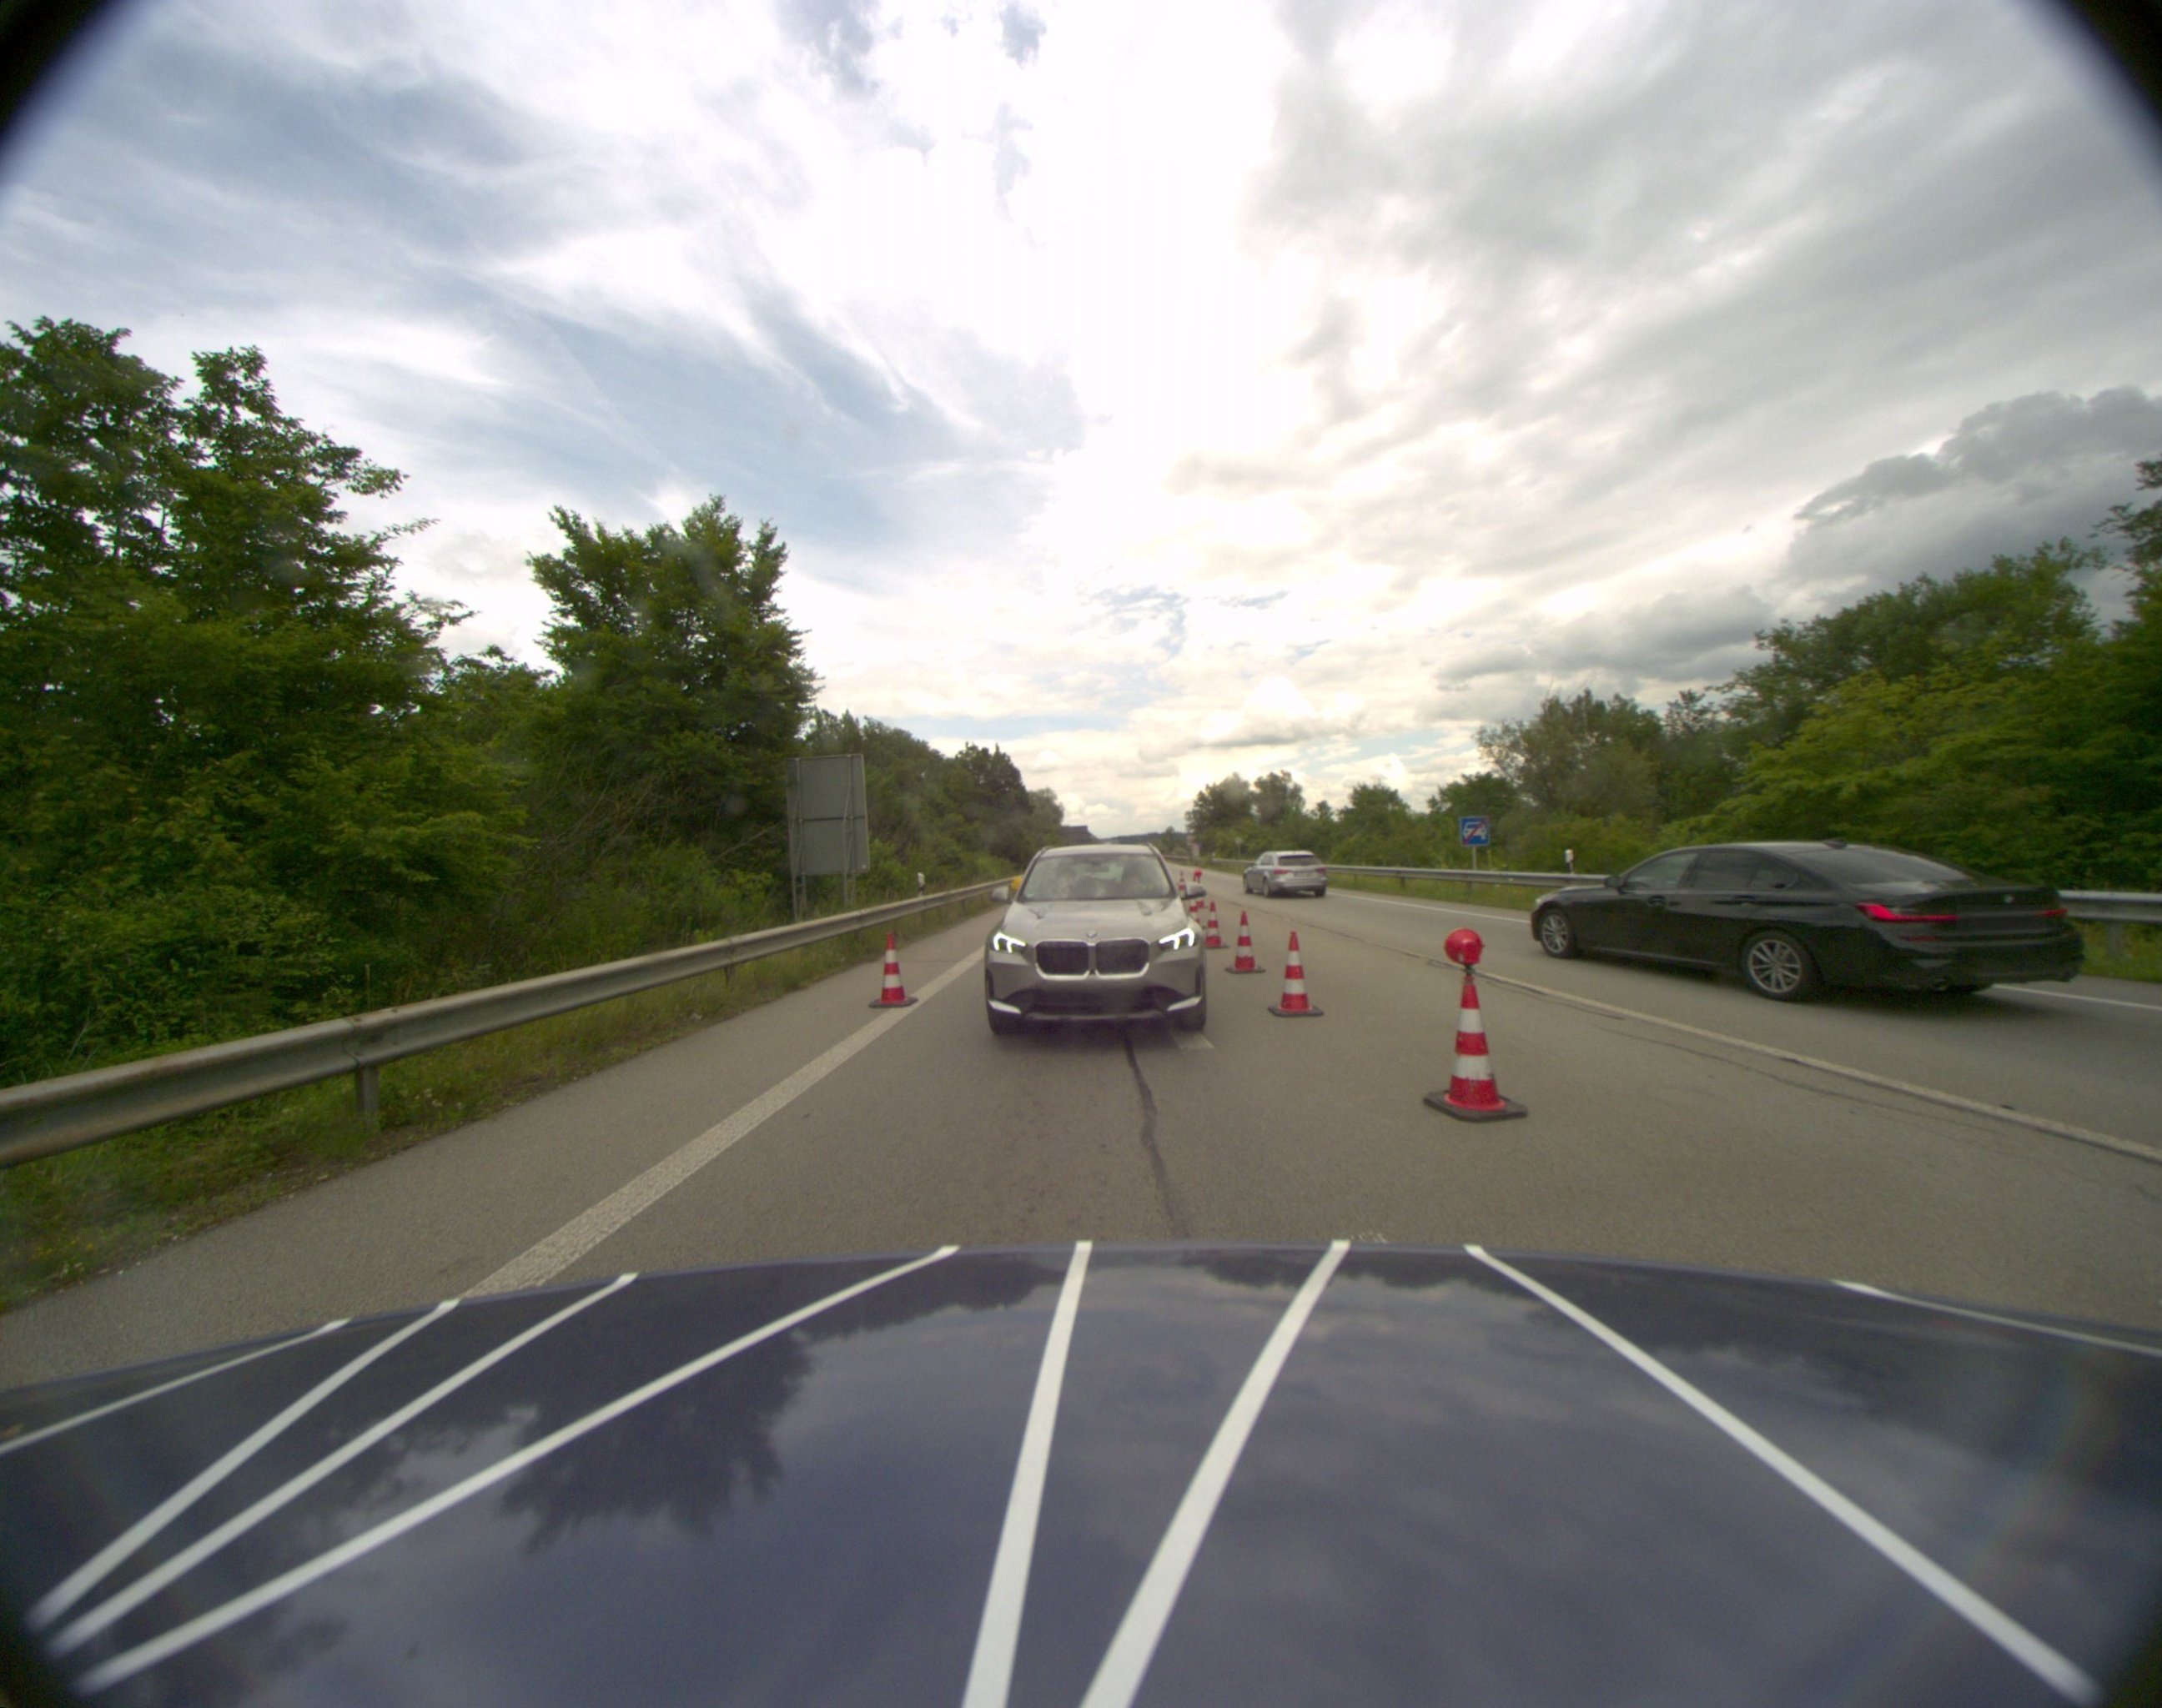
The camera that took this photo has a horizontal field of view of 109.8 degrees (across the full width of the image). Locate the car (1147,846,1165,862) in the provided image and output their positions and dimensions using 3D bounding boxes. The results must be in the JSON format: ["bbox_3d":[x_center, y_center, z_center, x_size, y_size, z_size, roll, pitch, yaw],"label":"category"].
[{"bbox_3d":[9.786,-0.014,99.809,2.034,1.976,5.316,-2,0,3],"label":"car"}]

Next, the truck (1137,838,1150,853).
[{"bbox_3d":[16.792,-2.288,204.281,3.113,3.682,9.545,-2,0,3],"label":"truck"}]

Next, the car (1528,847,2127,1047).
[{"bbox_3d":[6.894,0.686,7.848,1.714,1.428,4.334,-2,0,-5],"label":"car"}]

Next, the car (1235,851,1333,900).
[{"bbox_3d":[6.396,0.632,24.484,1.684,1.393,4.372,-2,0,-4],"label":"car"}]

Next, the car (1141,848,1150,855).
[{"bbox_3d":[14.707,-0.620,172.967,1.929,1.597,4.533,-2,0,3],"label":"car"}]

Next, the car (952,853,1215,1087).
[{"bbox_3d":[0.137,0.830,7.604,1.817,1.598,4.434,-2,0,3],"label":"car"}]
